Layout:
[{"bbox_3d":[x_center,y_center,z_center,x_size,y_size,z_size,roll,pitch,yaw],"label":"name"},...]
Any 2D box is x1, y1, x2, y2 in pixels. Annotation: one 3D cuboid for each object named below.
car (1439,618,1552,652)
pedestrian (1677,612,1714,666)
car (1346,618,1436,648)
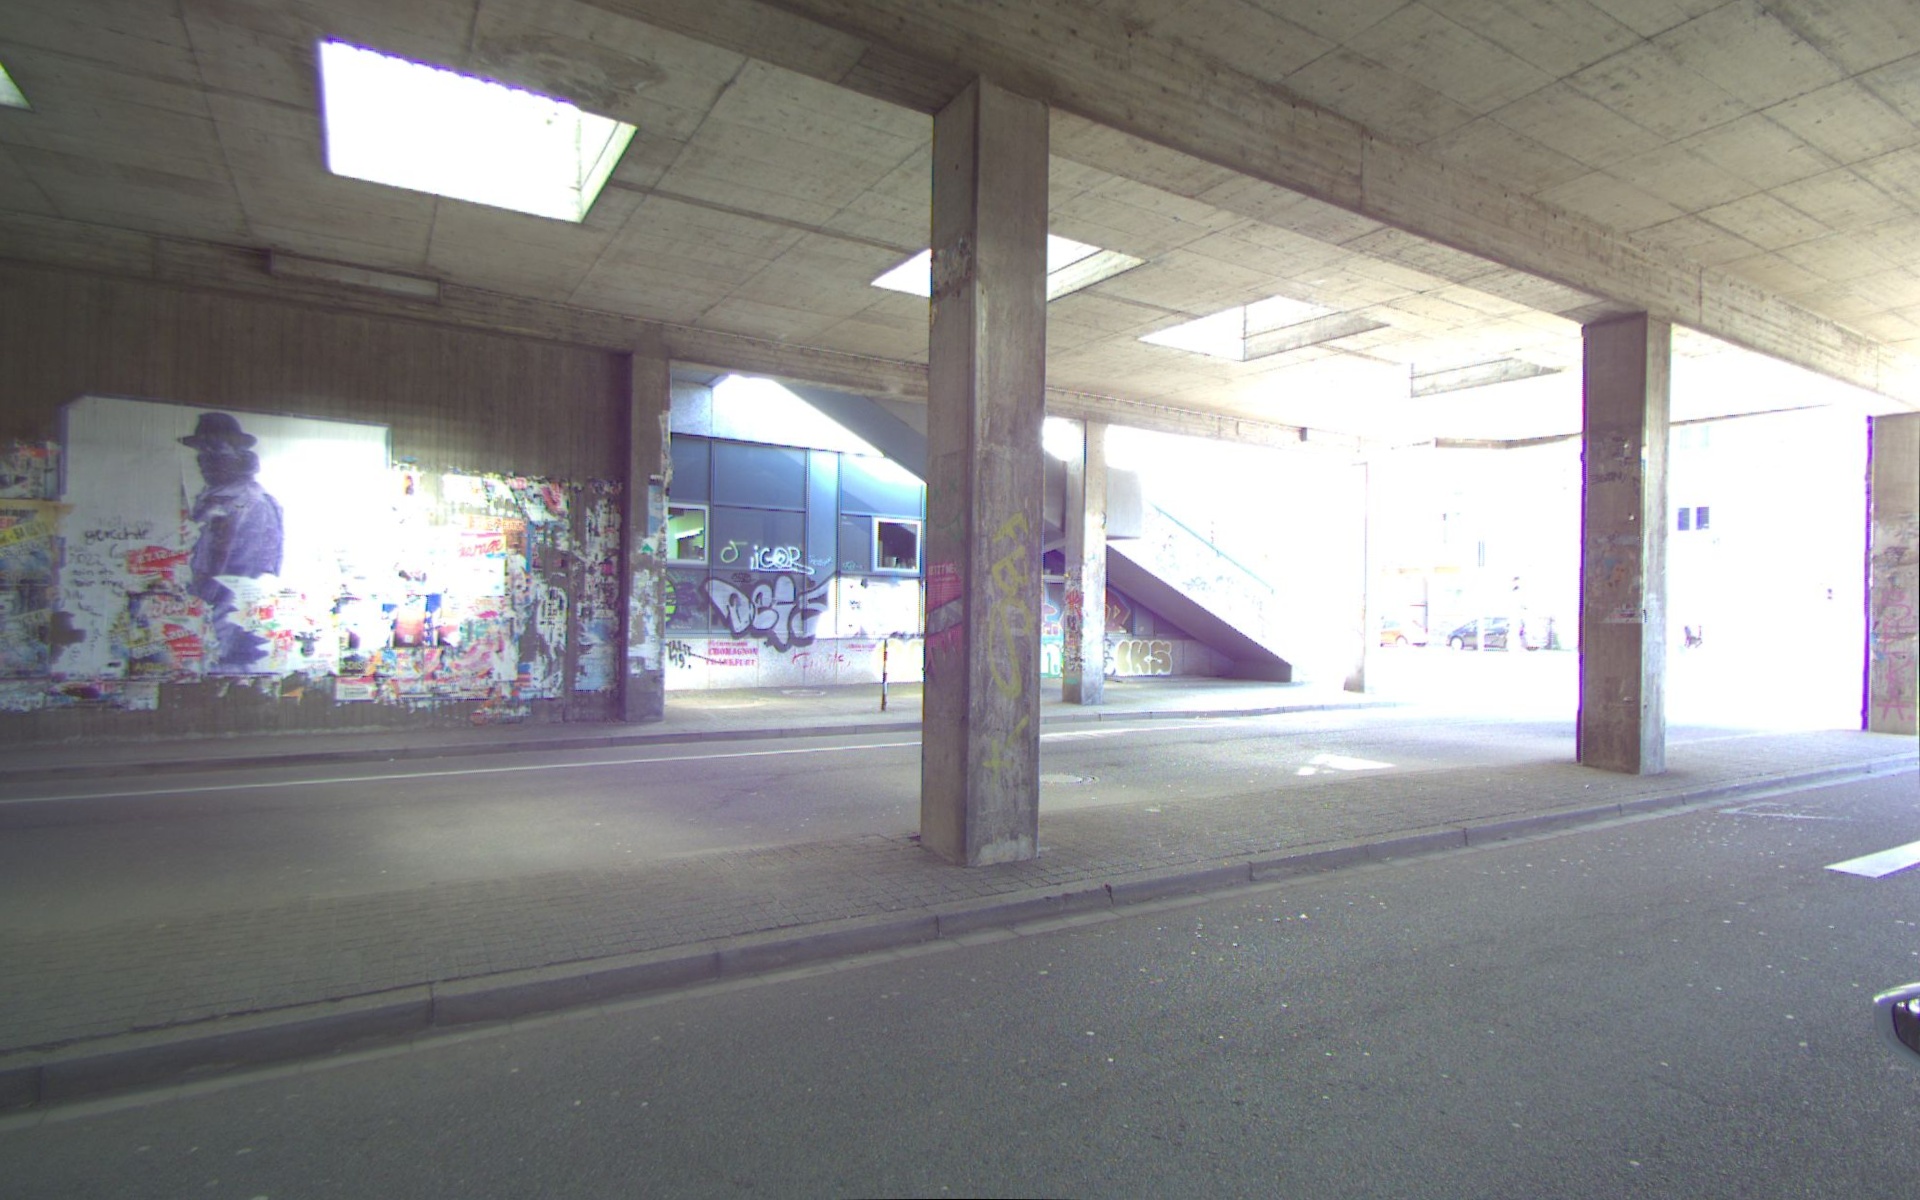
[{"bbox_3d":[25.392,1.648,47.751,1.905,1.428,4.382,2,0,-32],"label":"car"},{"bbox_3d":[23.162,1.214,31.634,0.732,1.659,0.669,2,0,-30],"label":"pedestrian"},{"bbox_3d":[22.552,1.709,52.693,1.905,1.428,3.965,2,0,-32],"label":"car"}]
